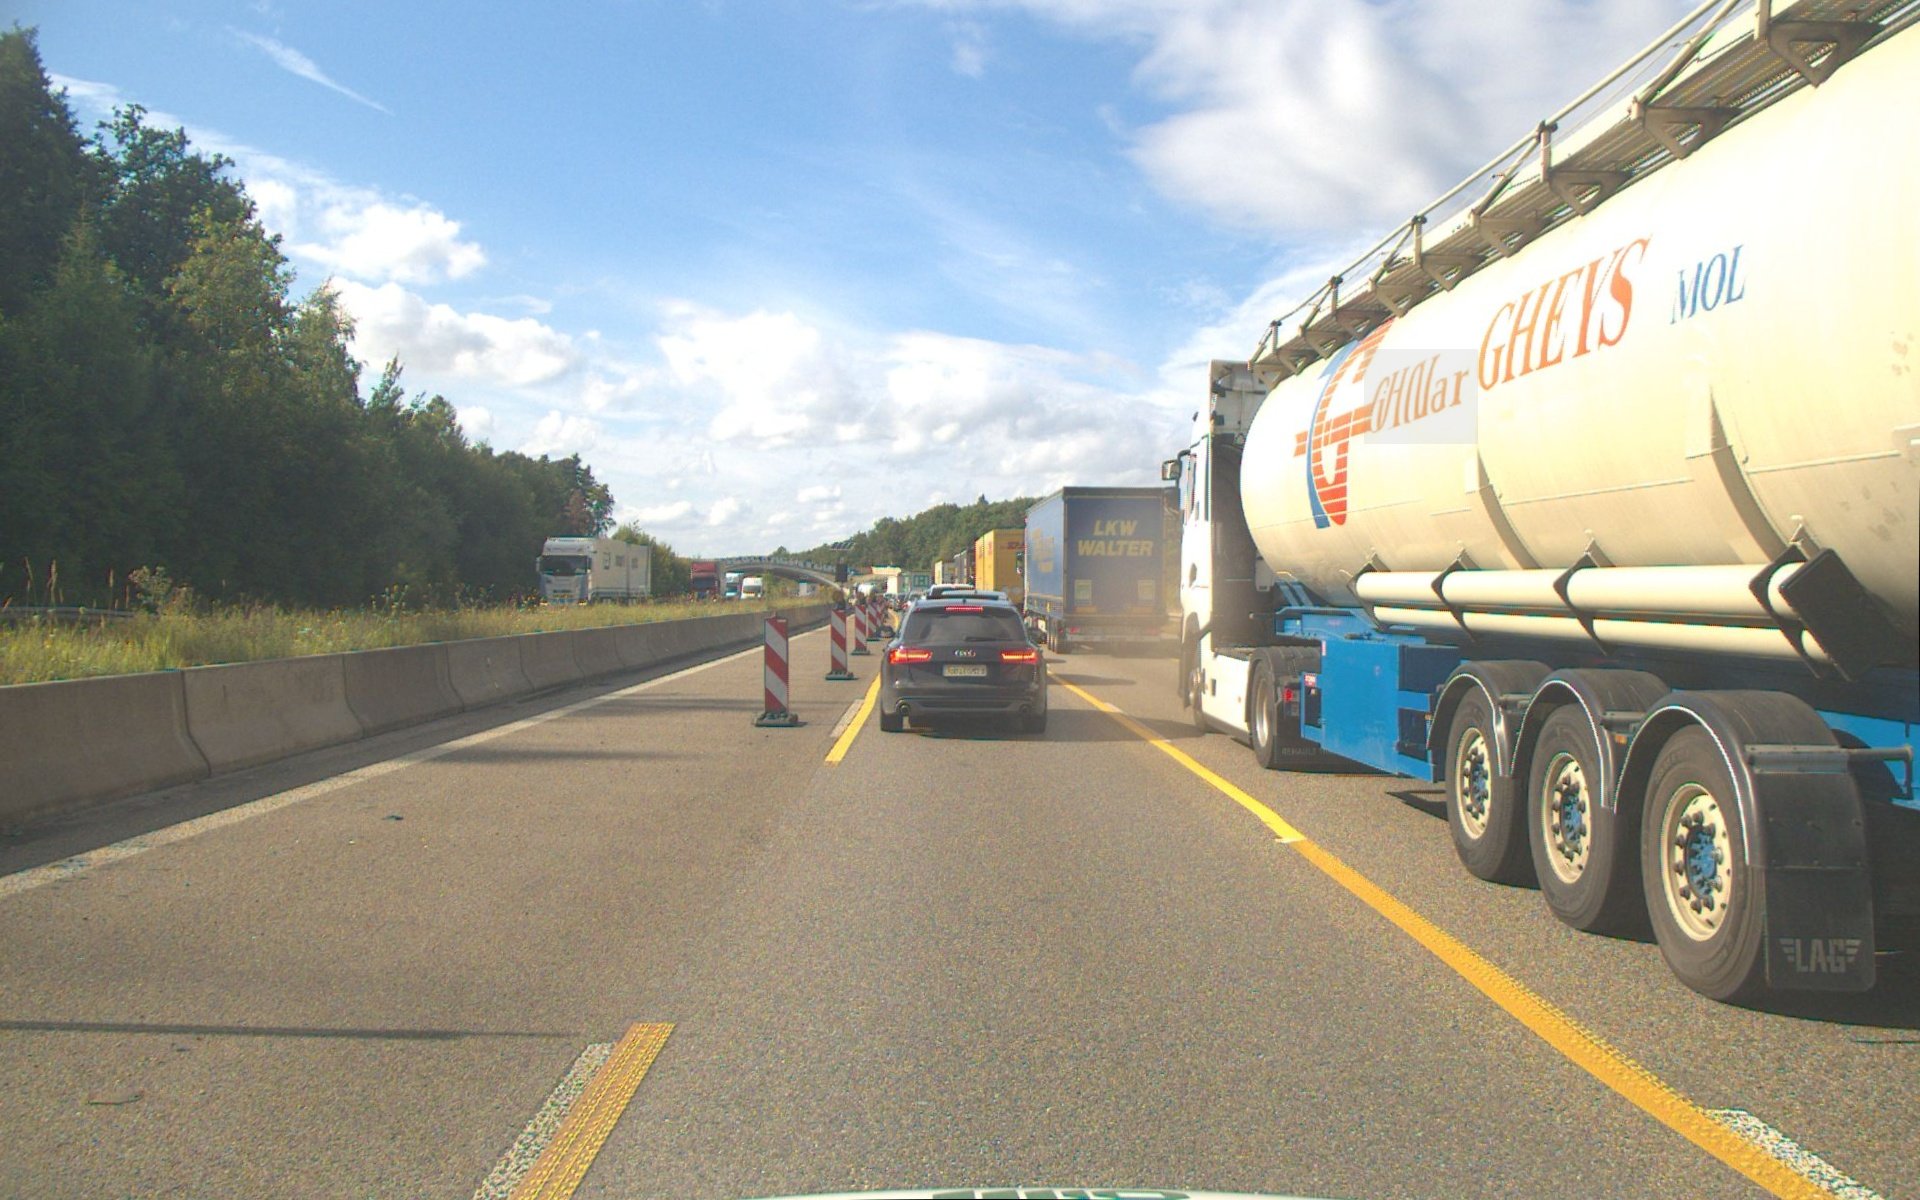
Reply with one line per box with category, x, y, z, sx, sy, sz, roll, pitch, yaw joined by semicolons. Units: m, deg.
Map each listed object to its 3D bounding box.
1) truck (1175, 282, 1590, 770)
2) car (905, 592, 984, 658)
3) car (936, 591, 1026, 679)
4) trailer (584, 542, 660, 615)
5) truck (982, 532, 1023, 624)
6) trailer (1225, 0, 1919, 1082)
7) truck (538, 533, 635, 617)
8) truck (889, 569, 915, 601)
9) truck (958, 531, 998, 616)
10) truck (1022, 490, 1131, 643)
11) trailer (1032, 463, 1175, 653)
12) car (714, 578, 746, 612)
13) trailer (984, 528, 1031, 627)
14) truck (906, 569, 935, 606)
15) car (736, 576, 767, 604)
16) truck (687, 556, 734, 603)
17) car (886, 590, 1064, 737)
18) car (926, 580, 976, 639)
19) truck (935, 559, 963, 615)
truck;3.925;-0.607;16.757;2.605;4.041;5.777;1;0;-1
car;-0.361;0.562;38.457;1.716;1.421;3.607;1;0;-1
car;0.334;0.598;29.476;1.493;1.464;3.284;1;0;-1
trailer;-19.507;-1.182;96.005;2.734;3.992;8.486;1;0;-1
truck;1.867;-0.961;73.815;1.577;3.965;4.071;1;0;-2
trailer;4.021;-0.603;9.988;2.590;4.012;12.595;1;0;-1
truck;-19.340;-1.220;86.330;2.726;4.054;10.859;1;0;-1
truck;-7.967;-2.102;227.036;3.239;4.248;9.695;1;0;-4
truck;1.076;-1.577;101.625;1.953;5.000;9.558;1;0;-2
truck;3.567;-0.969;52.400;2.749;4.446;7.790;1;0;-1
trailer;3.659;-0.988;44.786;2.748;4.490;10.430;1;0;-1
car;-24.050;-0.540;173.065;2.436;3.429;7.450;1;0;-1
trailer;1.965;-0.897;69.823;1.584;3.987;6.487;1;0;-1
truck;-4.755;-1.491;196.847;3.238;4.248;9.697;0;0;-3
car;-19.564;-0.925;155.504;2.116;2.494;6.330;1;0;-1
truck;-22.124;-1.781;147.212;2.743;4.062;10.184;1;0;-1
car;0.129;0.641;19.001;1.811;1.489;3.999;1;0;-1
car;-0.307;0.318;54.484;1.549;1.869;3.111;1;0;-1
truck;-0.942;-1.026;133.371;2.094;4.332;7.069;1;0;-1
